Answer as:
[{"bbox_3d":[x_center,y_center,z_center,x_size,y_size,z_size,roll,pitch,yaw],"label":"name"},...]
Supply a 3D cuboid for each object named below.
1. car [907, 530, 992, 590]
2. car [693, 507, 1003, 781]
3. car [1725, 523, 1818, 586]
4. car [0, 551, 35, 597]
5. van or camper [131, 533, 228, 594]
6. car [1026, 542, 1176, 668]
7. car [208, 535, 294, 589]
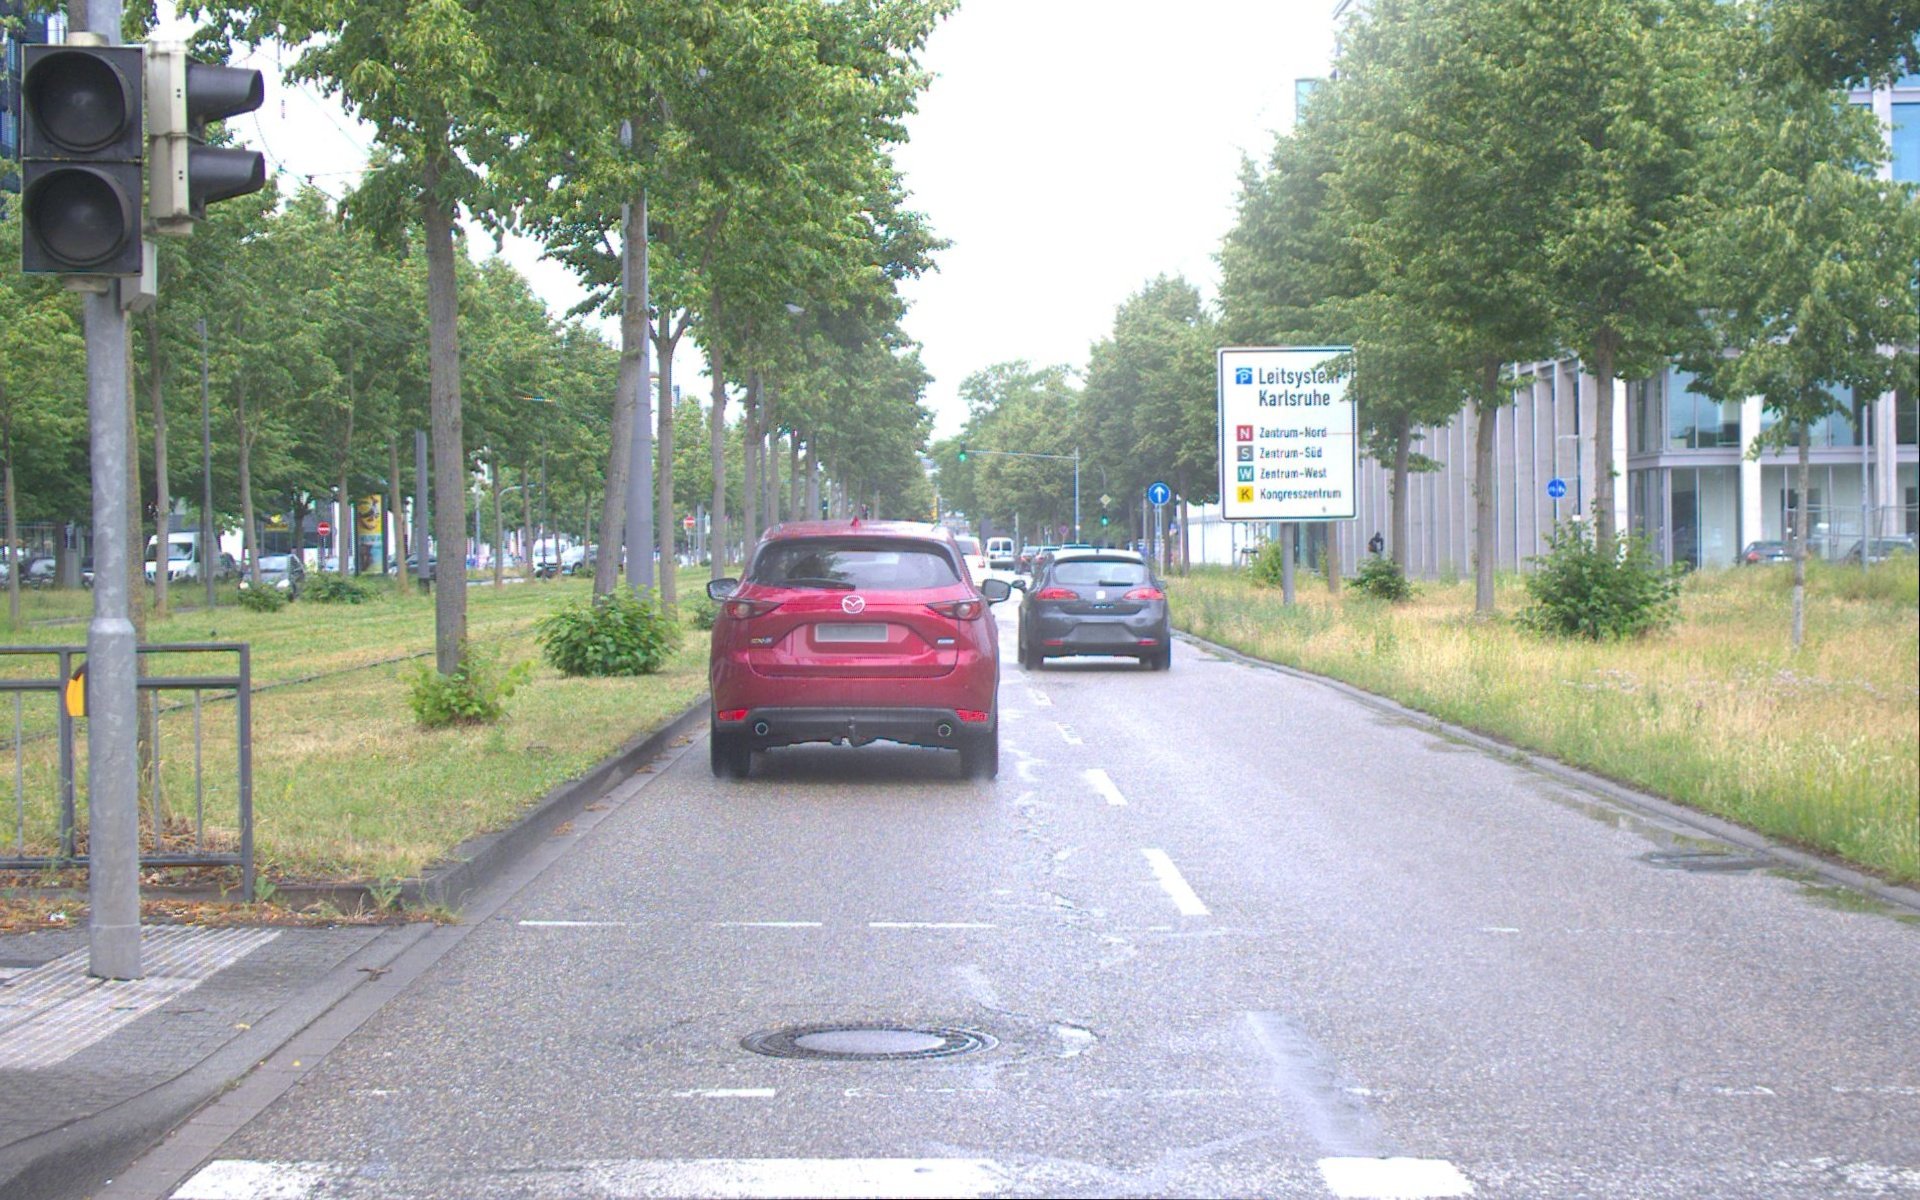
[{"bbox_3d":[-0.285,-0.998,84.931,1.967,1.432,4.553,0,1,-2],"label":"car"},{"bbox_3d":[-0.722,0.232,23.039,1.898,1.671,4.000,0,1,-1],"label":"car"},{"bbox_3d":[20.621,-1.167,87.472,1.855,1.575,3.999,0,1,7],"label":"car"},{"bbox_3d":[-29.990,-0.805,105.853,1.993,1.373,4.000,0,1,0],"label":"car"},{"bbox_3d":[-30.010,-1.427,132.379,2.433,2.307,5.850,0,1,0],"label":"van or camper"},{"bbox_3d":[1.729,0.026,41.944,1.744,1.460,3.781,0,1,3],"label":"car"},{"bbox_3d":[-22.169,-1.195,107.601,1.993,1.651,3.700,-1,1,-2],"label":"car"}]
